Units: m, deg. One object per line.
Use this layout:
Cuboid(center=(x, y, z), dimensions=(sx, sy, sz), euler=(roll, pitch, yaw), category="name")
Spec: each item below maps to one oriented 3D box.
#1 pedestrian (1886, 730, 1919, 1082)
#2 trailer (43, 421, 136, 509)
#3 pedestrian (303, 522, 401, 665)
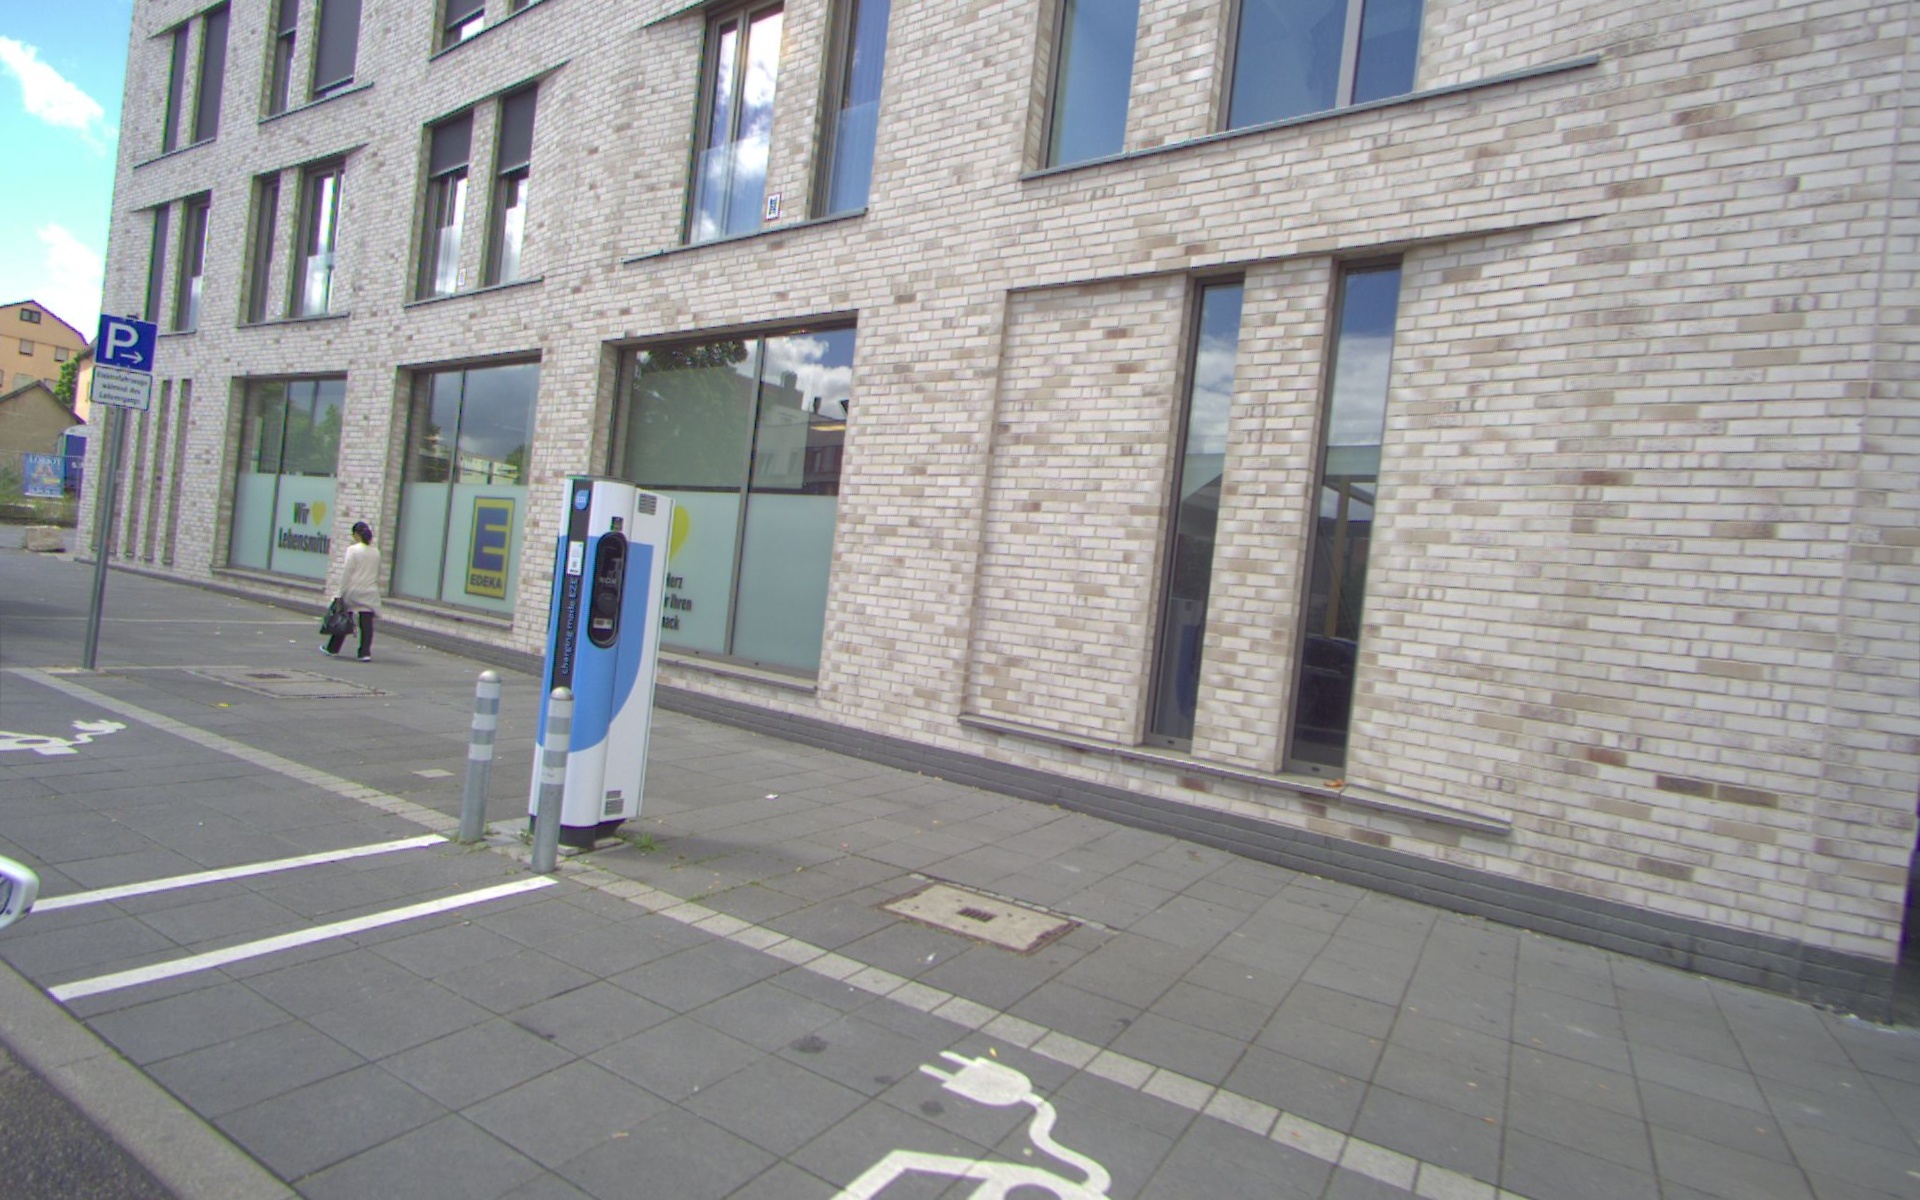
Cuboid(center=(4.090, 1.003, 3.658), dimensions=(0.611, 1.789, 0.738), euler=(5, 1, 5), category="pedestrian")
Cuboid(center=(-37.159, -5.670, 42.851), dimensions=(6.080, 3.163, 2.397), euler=(7, 2, 45), category="trailer")
Cuboid(center=(-6.756, -0.070, 11.177), dimensions=(0.779, 1.492, 0.606), euler=(8, 2, 39), category="pedestrian")
